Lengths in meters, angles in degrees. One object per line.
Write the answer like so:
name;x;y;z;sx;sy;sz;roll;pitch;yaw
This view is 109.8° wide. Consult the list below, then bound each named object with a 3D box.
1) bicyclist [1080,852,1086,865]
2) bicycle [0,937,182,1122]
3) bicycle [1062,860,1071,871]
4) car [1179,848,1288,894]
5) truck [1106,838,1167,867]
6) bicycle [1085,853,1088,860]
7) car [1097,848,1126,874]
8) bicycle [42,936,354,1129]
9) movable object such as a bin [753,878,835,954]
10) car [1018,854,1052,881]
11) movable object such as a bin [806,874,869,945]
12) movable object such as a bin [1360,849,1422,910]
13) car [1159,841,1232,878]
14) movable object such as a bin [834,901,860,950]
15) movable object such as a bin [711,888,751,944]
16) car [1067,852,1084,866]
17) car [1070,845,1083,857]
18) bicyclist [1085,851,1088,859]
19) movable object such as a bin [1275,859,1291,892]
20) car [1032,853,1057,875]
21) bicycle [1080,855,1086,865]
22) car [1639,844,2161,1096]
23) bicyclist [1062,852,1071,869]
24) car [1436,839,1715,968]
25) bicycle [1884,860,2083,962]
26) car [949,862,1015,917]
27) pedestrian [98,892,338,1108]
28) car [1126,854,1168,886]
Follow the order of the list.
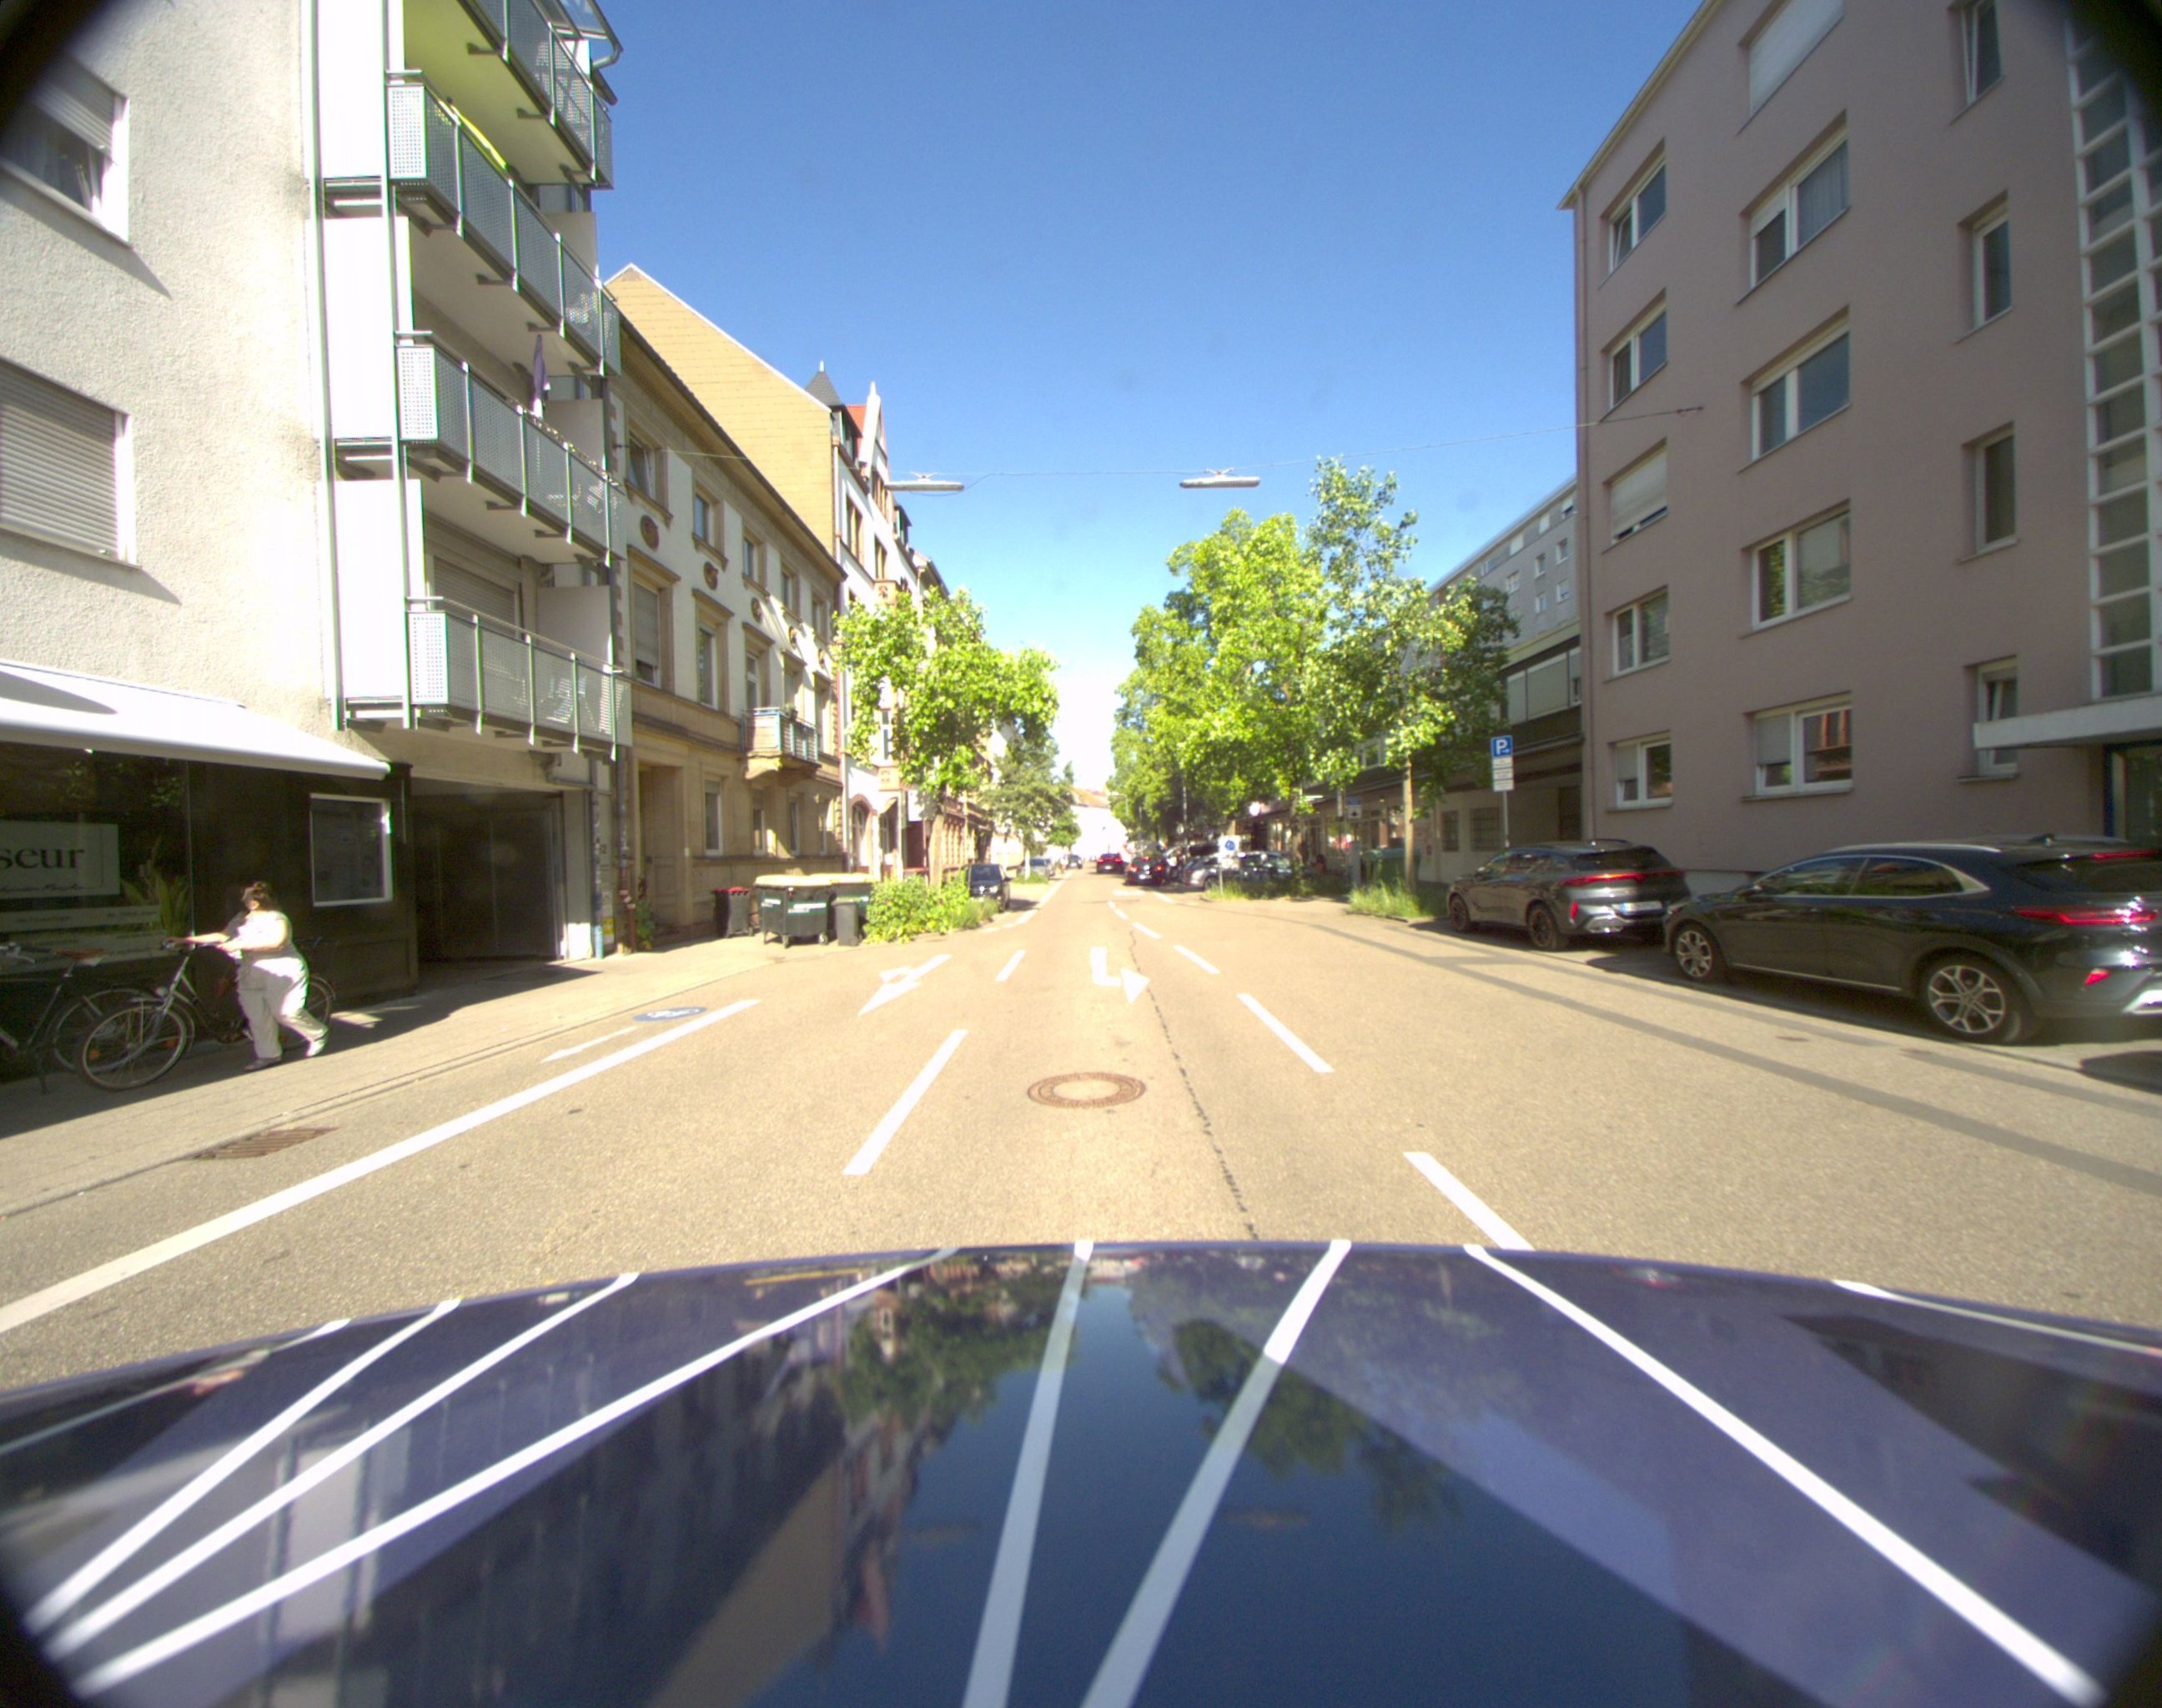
bicyclist;0.255;0.565;100.026;0.748;1.588;0.613;-3;1;1
bicycle;-7.745;1.289;5.445;0.402;1.171;1.792;-2;0;1
bicycle;-1.173;0.933;61.647;0.612;0.876;1.814;-1;-1;-3
car;6.090;0.655;30.668;3.997;1.665;2.000;-2;1;1
truck;5.215;-0.145;71.604;5.322;2.581;1.998;-2;1;-9
bicycle;0.958;0.429;130.461;0.422;1.292;1.762;-1;0;0
car;2.231;0.484;56.264;1.994;1.599;4.259;-3;3;1
bicycle;-6.970;1.334;6.152;0.402;1.126;1.792;2;1;1
movable object such as a bin;-5.587;1.171;14.776;1.212;1.318;1.052;2;3;42
car;-2.743;0.787;45.887;1.759;1.492;3.949;-2;0;0
movable object such as a bin;-5.084;1.134;15.853;0.960;1.341;1.066;-1;2;-38
movable object such as a bin;8.136;0.653;19.992;1.247;1.536;1.019;-2;1;5
car;6.708;0.289;44.776;3.997;2.020;2.000;-2;1;1
movable object such as a bin;-4.577;1.395;14.888;0.401;0.916;0.484;0;2;-7
movable object such as a bin;-7.318;1.282;15.892;0.615;1.075;0.568;2;3;42
car;-0.521;0.496;78.791;1.653;1.447;3.290;-2;0;1
car;-0.726;-0.511;126.559;1.998;2.002;4.000;-2;0;1
bicyclist;0.957;0.221;130.475;0.417;1.415;0.324;-2;1;1
movable object such as a bin;7.621;0.803;28.674;0.488;1.218;0.409;-2;1;1
car;-2.631;0.678;55.202;1.653;1.483;3.290;-2;0;0
bicycle;0.264;0.785;100.015;0.778;1.139;2.259;-3;1;1
car;7.517;0.720;6.905;1.821;1.499;4.246;-4;0;2
bicyclist;-1.173;0.523;61.578;0.610;1.338;1.018;-2;0;-4
car;7.592;0.660;12.256;1.821;1.583;4.141;-5;0;2
bicycle;10.762;0.631;9.153;0.391;1.070;1.650;-6;0;2
car;-2.968;1.027;23.364;1.551;1.483;3.351;-2;0;0
pedestrian;-6.868;1.106;6.108;0.825;1.529;0.946;2;1;1
car;3.254;0.755;38.010;1.867;1.455;4.000;-1;0;3
